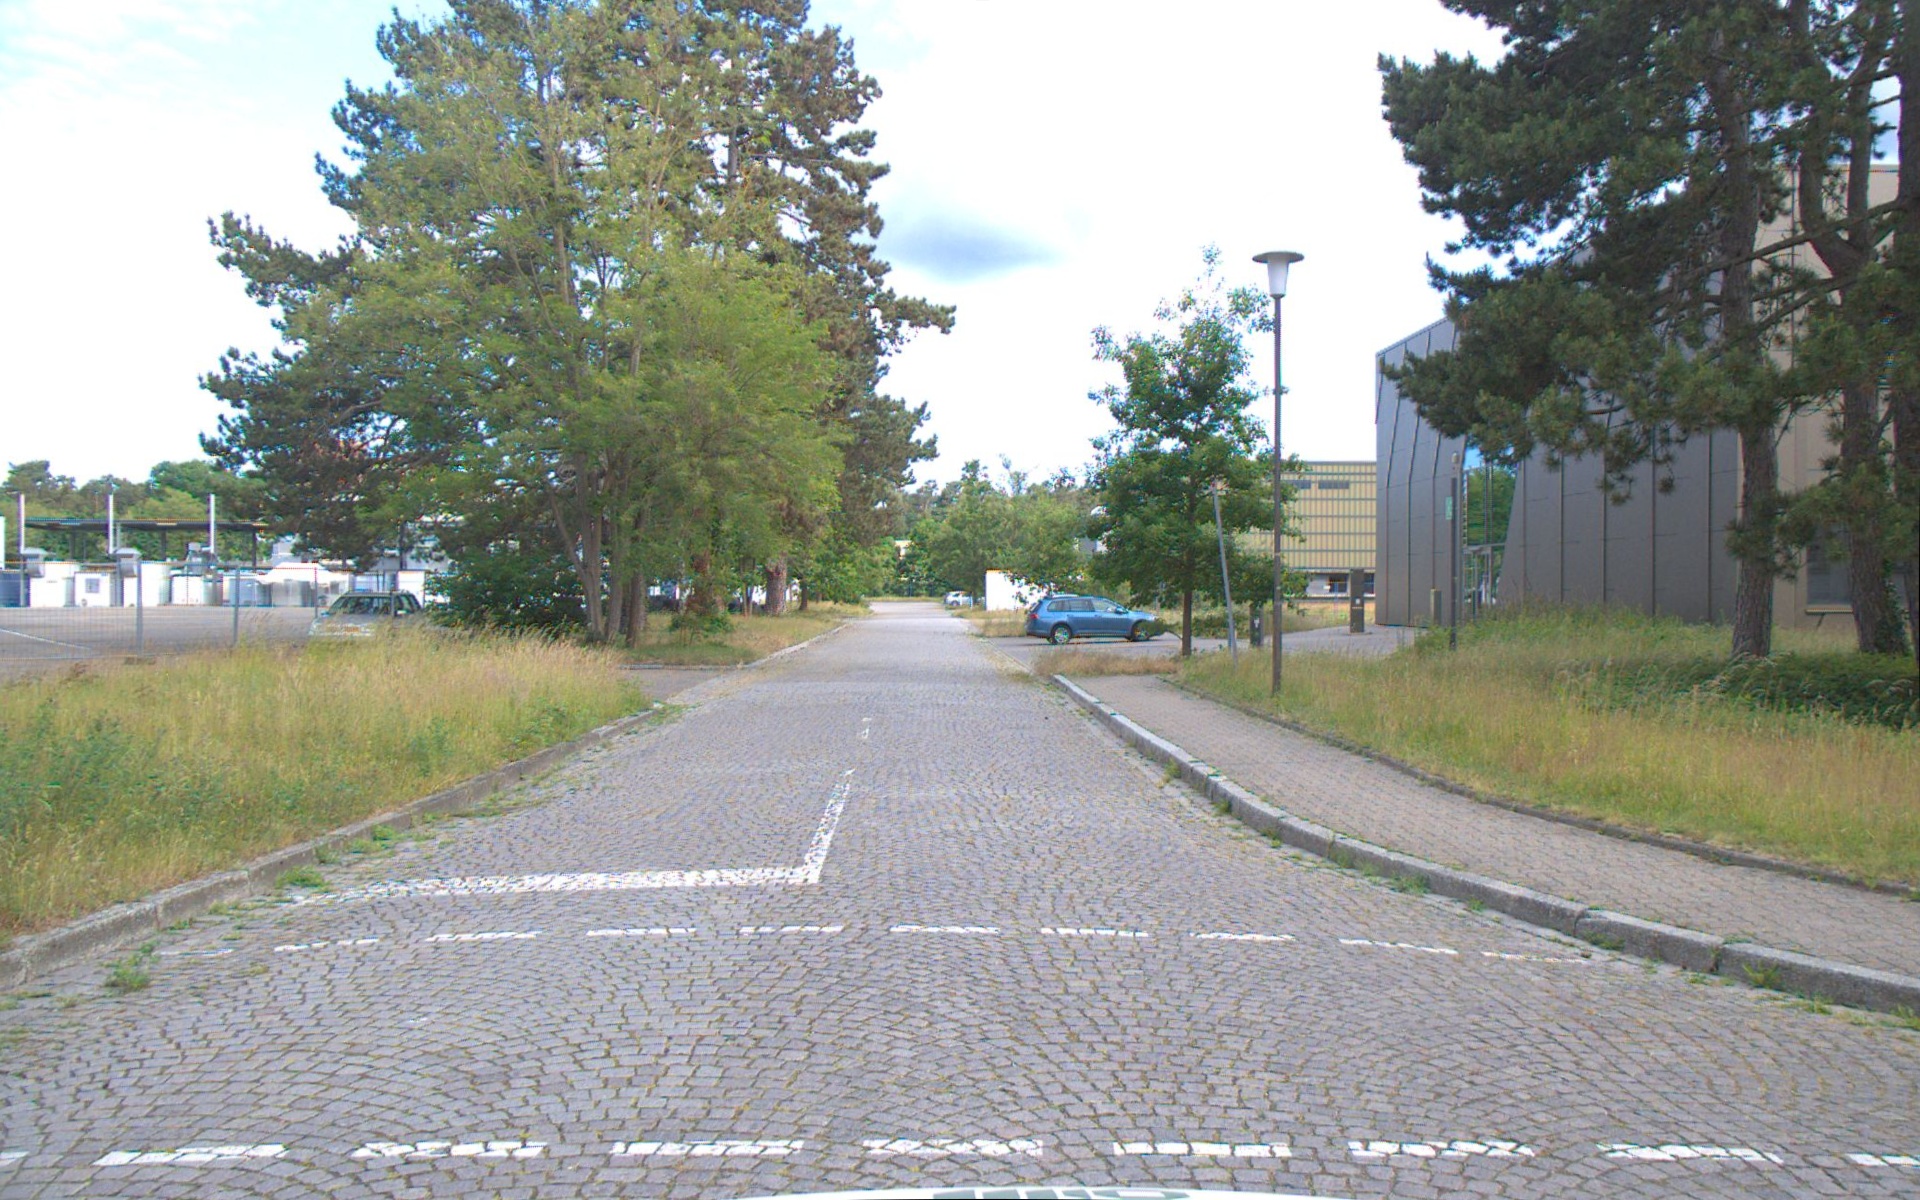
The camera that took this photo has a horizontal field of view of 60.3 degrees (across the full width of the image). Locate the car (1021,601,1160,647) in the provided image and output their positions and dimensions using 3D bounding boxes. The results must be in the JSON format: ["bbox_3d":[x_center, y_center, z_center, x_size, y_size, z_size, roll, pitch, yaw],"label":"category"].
[{"bbox_3d":[4.165,0.757,53.313,4.258,1.447,1.999,0,0,-4],"label":"car"}]

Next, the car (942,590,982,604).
[{"bbox_3d":[0.155,-0.274,170.287,3.911,1.422,1.997,0,0,-8],"label":"car"}]

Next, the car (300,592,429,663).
[{"bbox_3d":[-13.526,0.581,37.782,1.580,1.513,3.999,0,0,-2],"label":"car"}]
